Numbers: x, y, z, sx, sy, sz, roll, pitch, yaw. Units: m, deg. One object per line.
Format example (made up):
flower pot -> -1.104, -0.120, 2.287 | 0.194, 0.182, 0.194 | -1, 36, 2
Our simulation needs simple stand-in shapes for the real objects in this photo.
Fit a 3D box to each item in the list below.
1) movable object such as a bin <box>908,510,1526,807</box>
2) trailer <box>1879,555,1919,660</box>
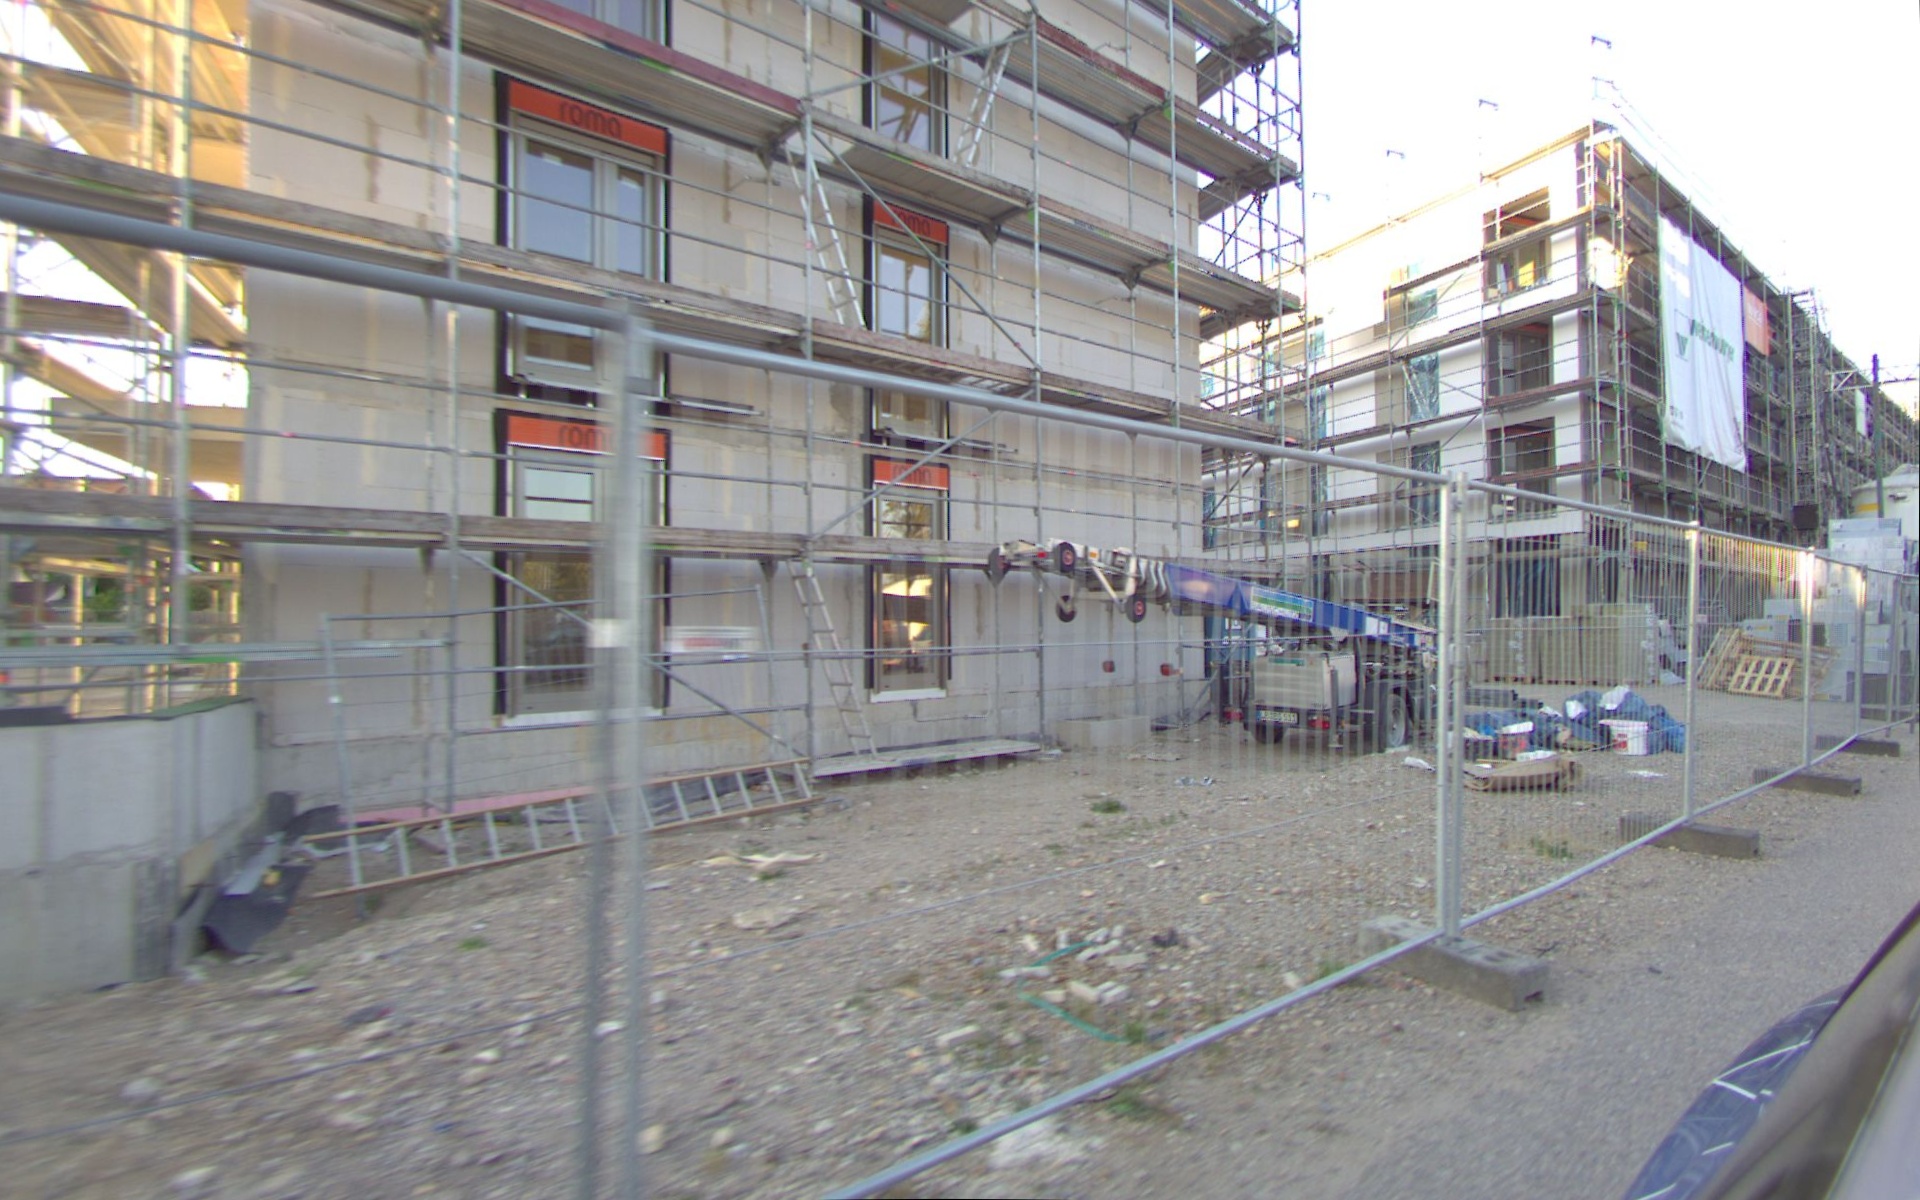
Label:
movable object such as a bin -> 3.369, 0.455, 11.195 | 8.215, 2.302, 2.070 | 0, 0, -38
trailer -> 29.371, 0.218, 30.034 | 6.131, 2.949, 2.577 | 0, 0, -43
